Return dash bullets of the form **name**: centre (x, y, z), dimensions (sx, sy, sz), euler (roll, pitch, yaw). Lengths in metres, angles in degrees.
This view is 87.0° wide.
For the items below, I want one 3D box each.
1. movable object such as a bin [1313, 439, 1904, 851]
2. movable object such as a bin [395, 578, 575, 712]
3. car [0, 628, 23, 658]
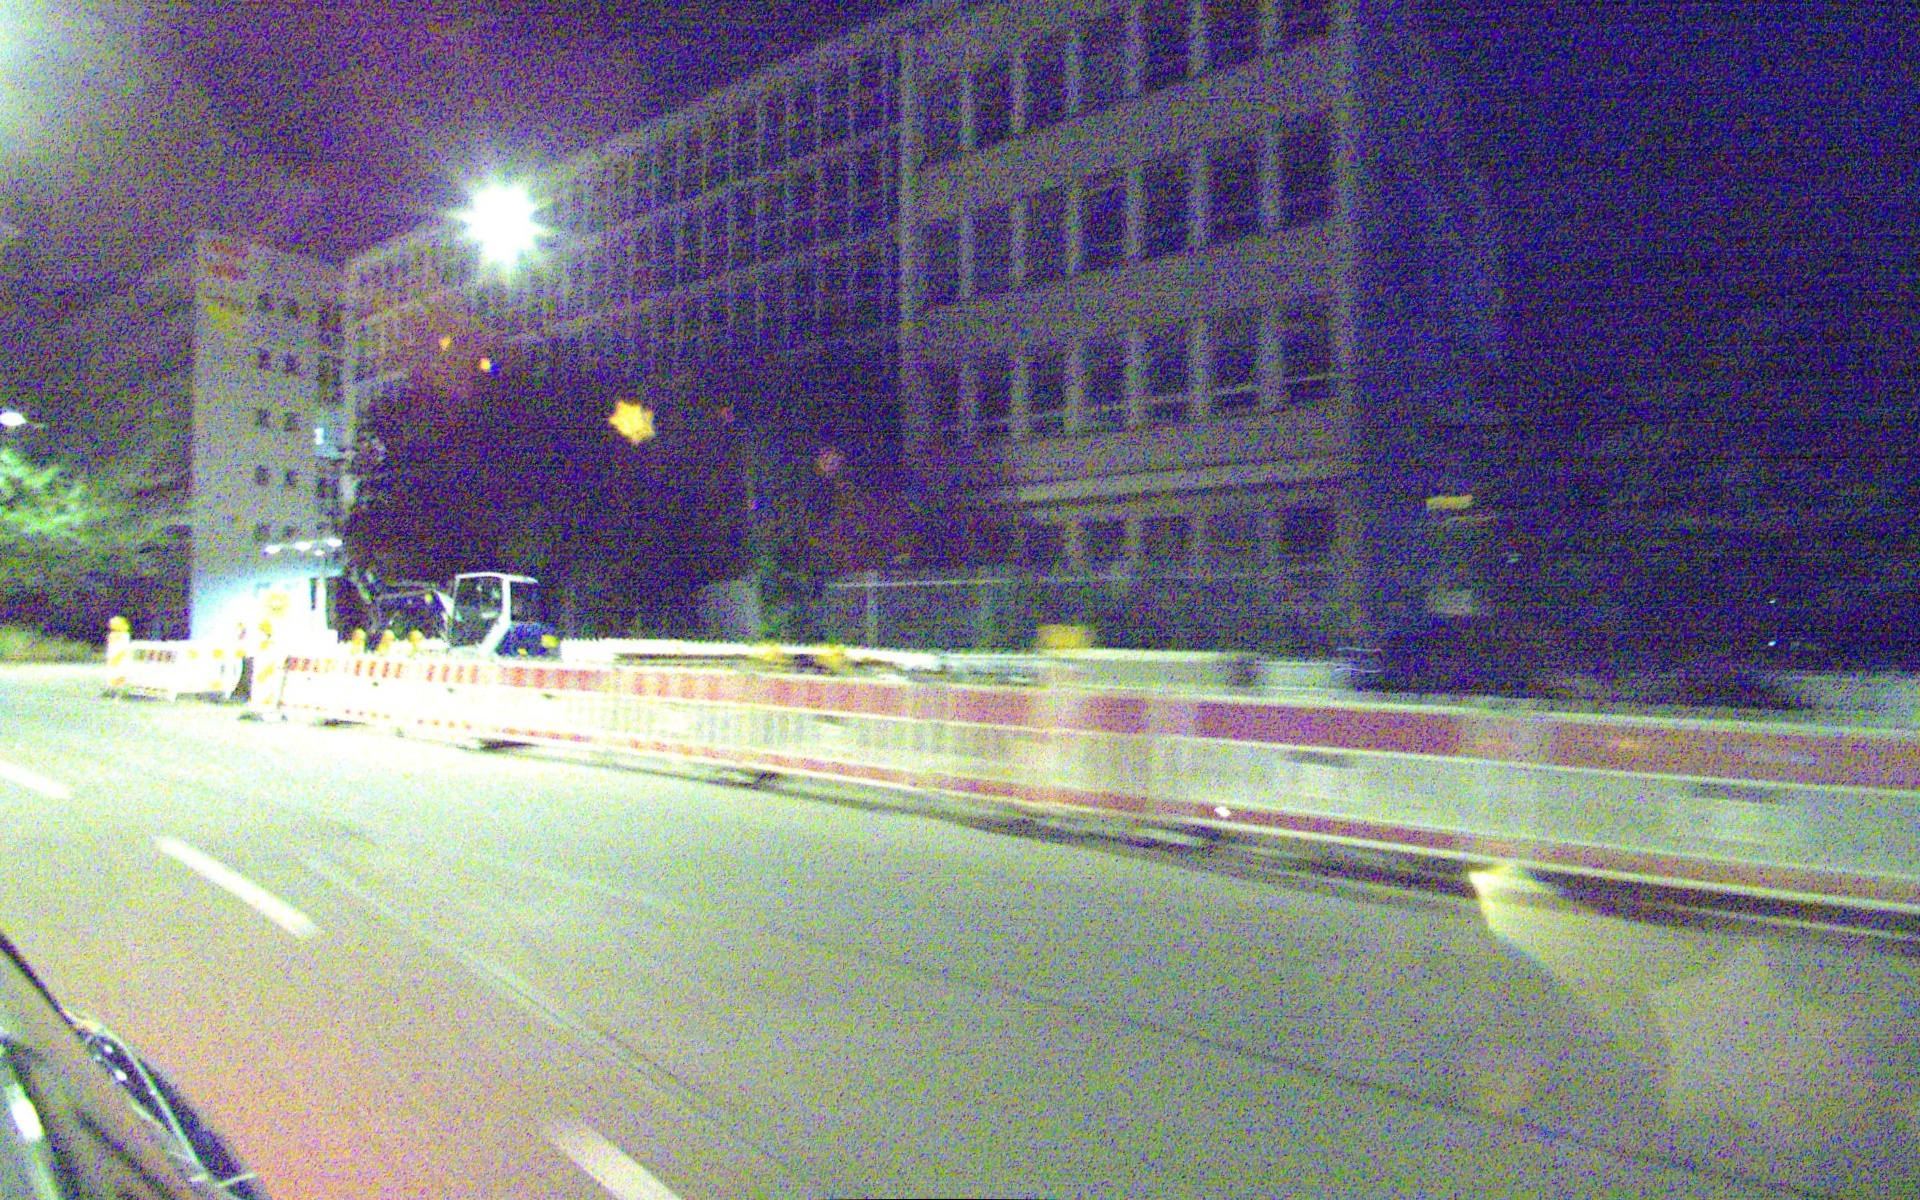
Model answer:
- **movable object such as a bin**: centre (4.982, 0.386, 8.348), dimensions (3.684, 2.755, 1.560), euler (-2, -5, 29)
- **movable object such as a bin**: centre (-9.282, 0.859, 19.870), dimensions (2.813, 2.486, 1.546), euler (0, -3, 15)
- **car**: centre (-64.898, 2.867, 66.662), dimensions (1.995, 1.987, 4.394), euler (-2, -1, 34)
